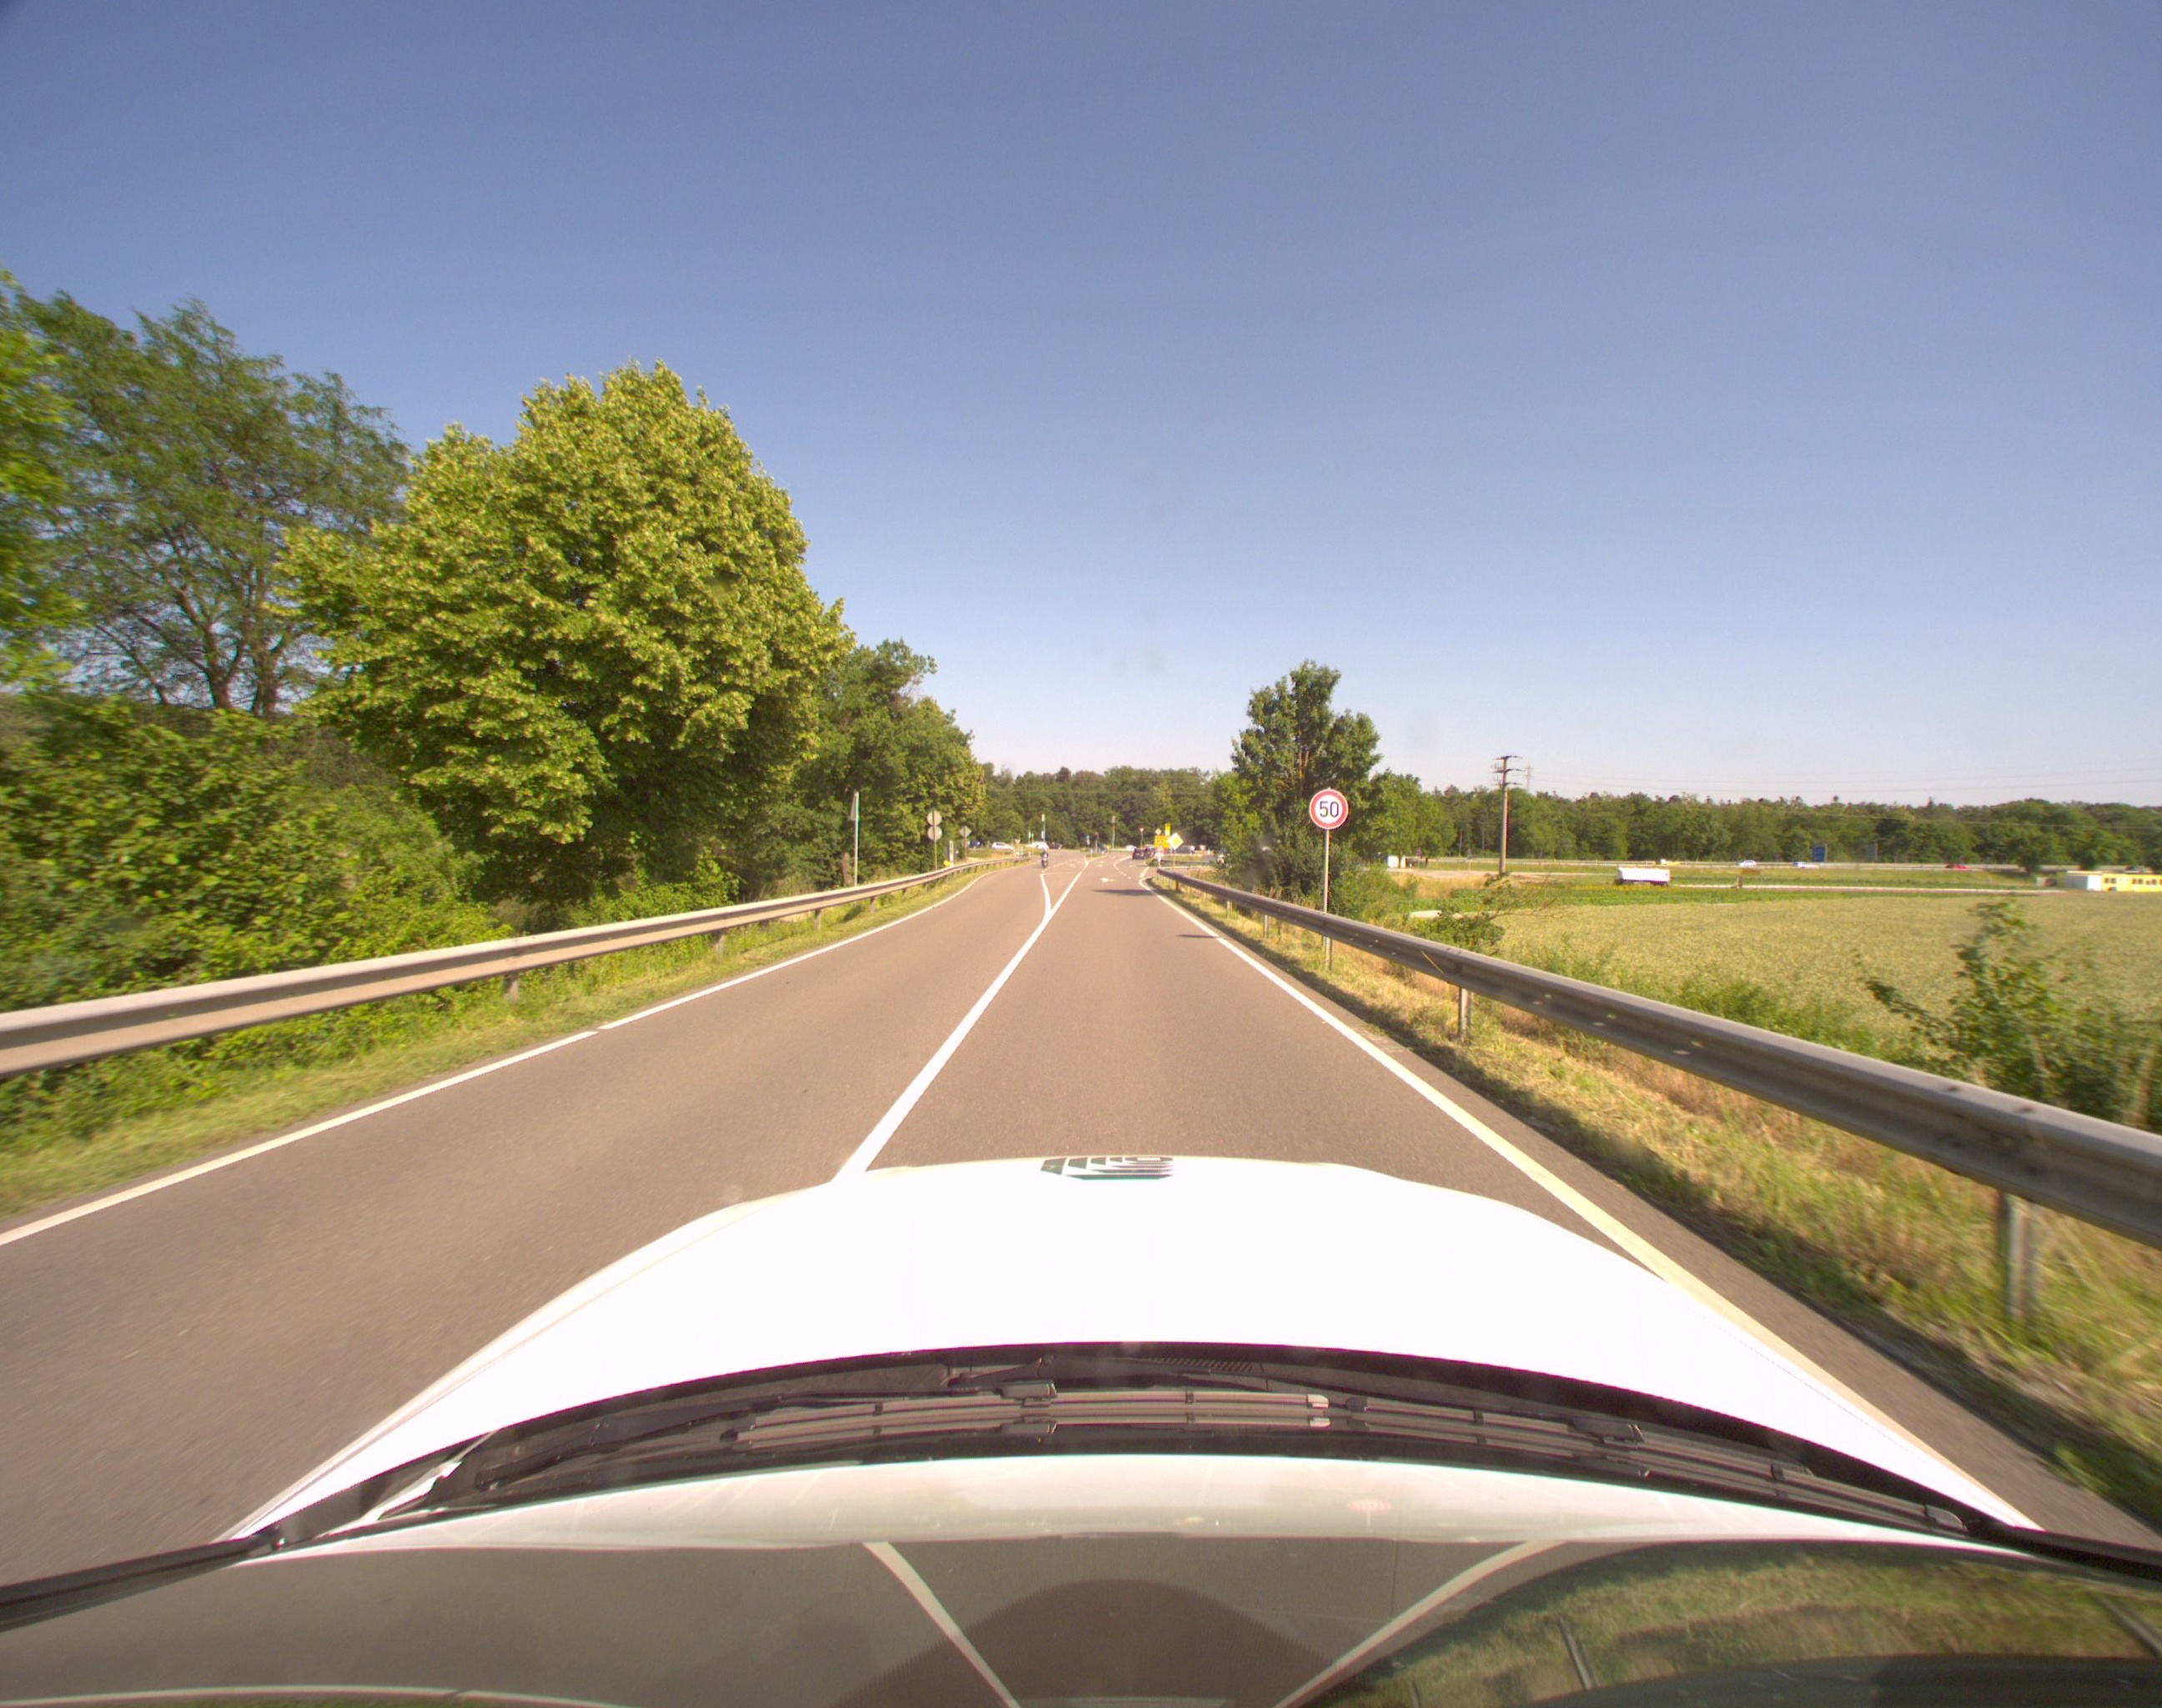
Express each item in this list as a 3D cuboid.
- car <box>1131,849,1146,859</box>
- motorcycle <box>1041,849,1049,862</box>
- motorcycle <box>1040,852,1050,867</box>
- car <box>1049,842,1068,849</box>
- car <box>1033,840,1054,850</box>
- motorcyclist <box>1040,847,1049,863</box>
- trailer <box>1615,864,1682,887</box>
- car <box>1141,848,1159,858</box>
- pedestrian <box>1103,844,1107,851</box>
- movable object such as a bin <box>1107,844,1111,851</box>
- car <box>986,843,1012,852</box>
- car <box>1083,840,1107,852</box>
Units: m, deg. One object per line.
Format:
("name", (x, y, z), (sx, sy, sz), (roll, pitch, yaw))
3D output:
("car", (8.544, -0.034, 120.486), (1.789, 1.398, 4.009), (-3, 0, 8))
("motorcycle", (-3.692, 0.159, 84.044), (0.714, 1.308, 2.182), (-1, 0, 1))
("motorcycle", (-3.225, 0.465, 72.284), (0.714, 1.250, 2.079), (-1, 0, 2))
("car", (-4.862, -1.888, 173.266), (3.980, 1.422, 1.793), (-1, 0, -5))
("car", (-7.602, -1.791, 166.001), (4.000, 2.013, 1.784), (-1, 0, -20))
("motorcyclist", (-3.234, 0.044, 72.342), (0.696, 1.408, 0.785), (-1, 0, 2))
("trailer", (76.331, 2.837, 109.639), (6.731, 2.670, 2.907), (2, 1, 17))
("car", (10.866, -0.126, 128.002), (1.785, 1.501, 4.019), (2, 1, 19))
("pedestrian", (4.639, -1.298, 158.500), (0.518, 1.390, 0.517), (-1, 0, 35))
("movable object such as a bin", (5.479, -1.292, 159.188), (0.598, 1.488, 0.734), (-1, 0, 9))
("car", (-14.076, -1.081, 140.016), (4.221, 1.459, 1.997), (-1, 0, -5))
("car", (2.443, -1.448, 142.756), (3.983, 2.013, 1.797), (0, 1, -7))
